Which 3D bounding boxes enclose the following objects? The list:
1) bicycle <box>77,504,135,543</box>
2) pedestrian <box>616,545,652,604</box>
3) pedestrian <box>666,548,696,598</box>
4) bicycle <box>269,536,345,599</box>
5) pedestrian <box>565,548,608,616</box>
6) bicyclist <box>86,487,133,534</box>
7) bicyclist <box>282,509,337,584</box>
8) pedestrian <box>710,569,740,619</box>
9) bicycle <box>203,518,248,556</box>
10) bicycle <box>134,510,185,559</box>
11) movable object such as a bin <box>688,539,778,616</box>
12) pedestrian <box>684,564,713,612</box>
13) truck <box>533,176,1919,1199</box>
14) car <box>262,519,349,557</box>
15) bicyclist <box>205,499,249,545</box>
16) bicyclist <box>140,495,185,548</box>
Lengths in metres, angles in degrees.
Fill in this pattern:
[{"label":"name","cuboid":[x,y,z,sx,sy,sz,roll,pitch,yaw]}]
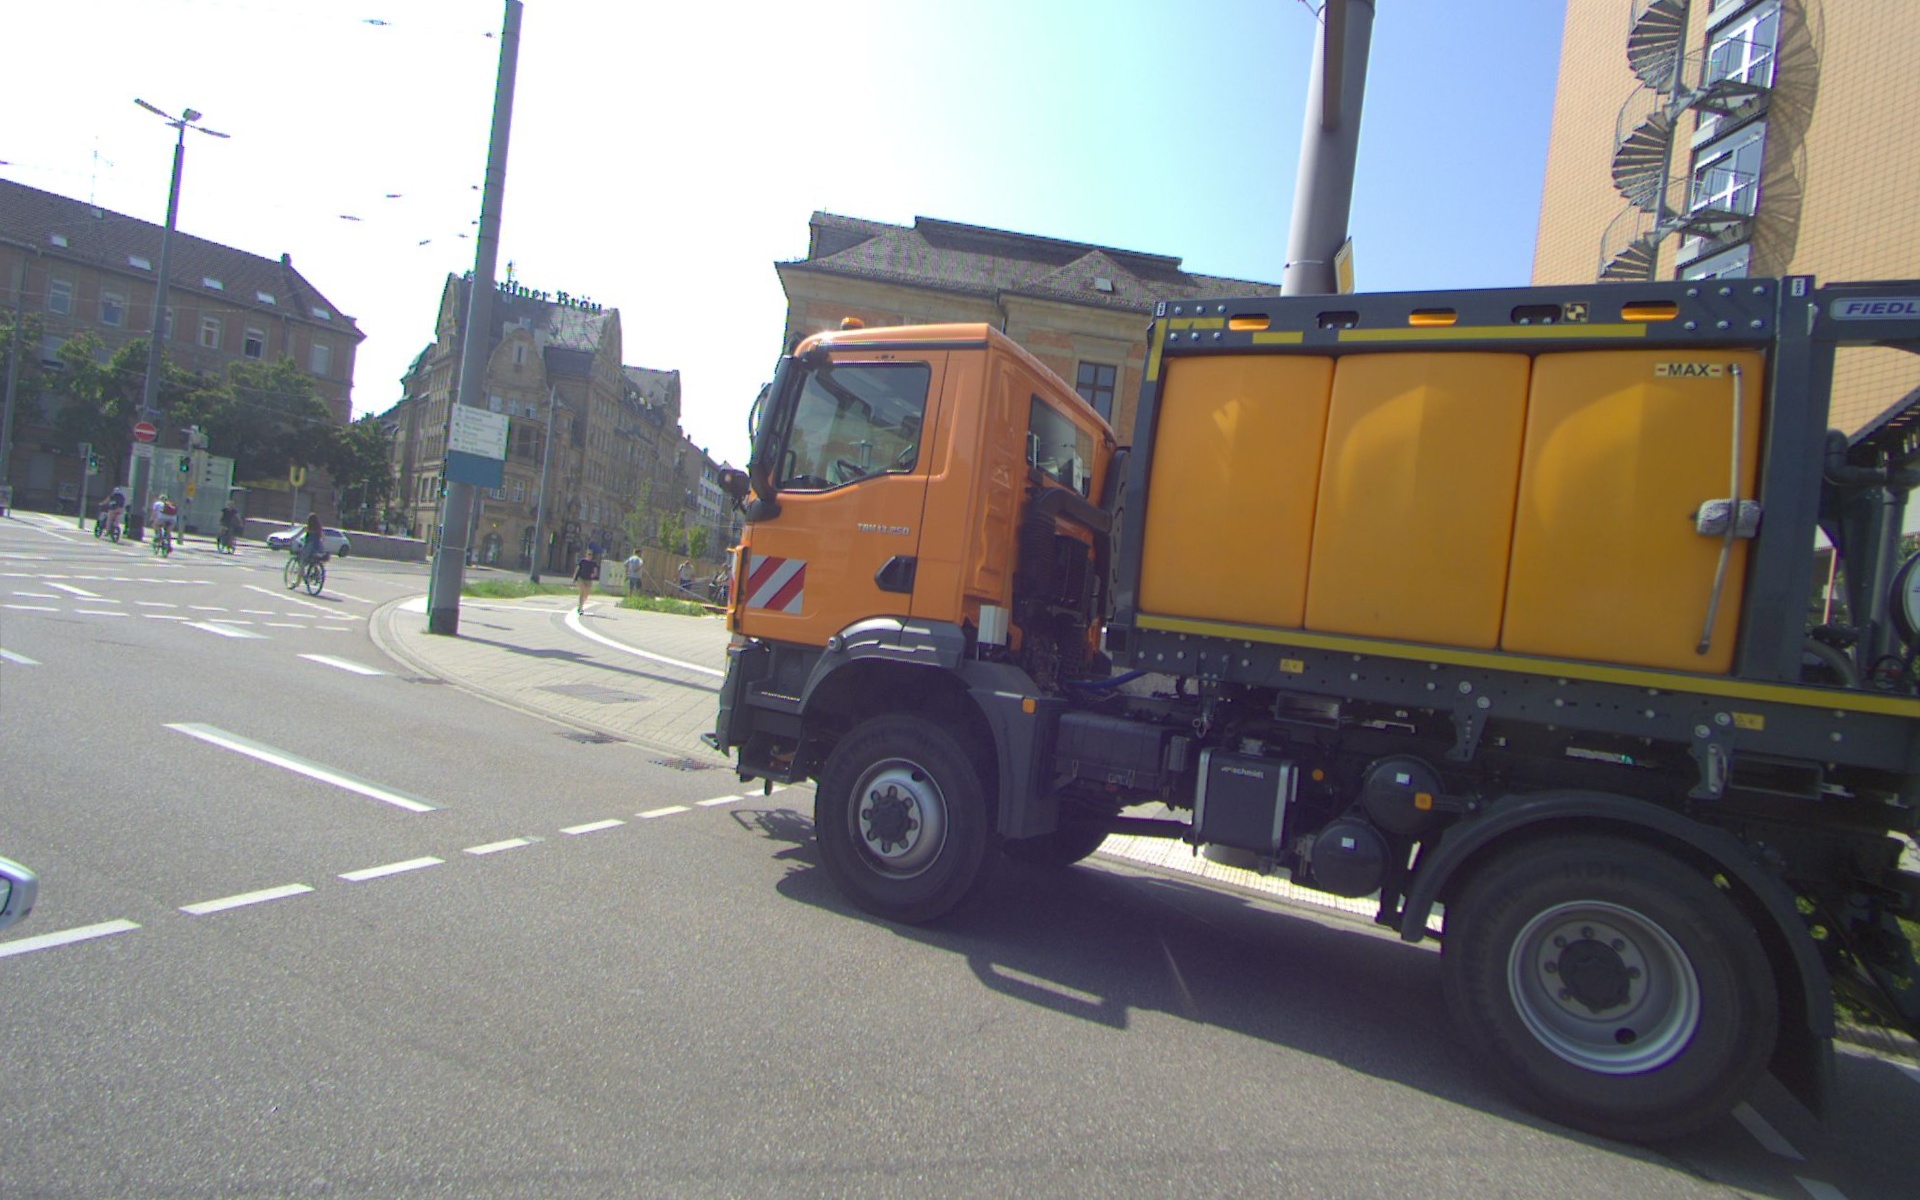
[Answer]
[{"label":"bicycle","cuboid":[-26.884,-2.418,31.672,2.336,1.011,0.645,7,1,32]},{"label":"pedestrian","cuboid":[-10.747,-0.842,33.158,0.678,1.836,1.029,6,1,-34]},{"label":"pedestrian","cuboid":[-10.030,-0.982,36.194,0.678,1.693,0.679,6,1,-35]},{"label":"bicycle","cuboid":[-14.042,-0.705,21.619,2.093,1.125,0.440,7,1,32]},{"label":"pedestrian","cuboid":[-9.454,-0.456,25.458,0.784,1.629,0.943,5,1,-28]},{"label":"bicyclist","cuboid":[-26.724,-2.816,31.616,0.906,1.335,0.748,6,-1,32]},{"label":"bicyclist","cuboid":[-13.970,-1.147,21.617,0.633,1.499,0.657,7,1,31]},{"label":"pedestrian","cuboid":[-8.525,-0.229,36.508,0.678,1.693,0.679,6,1,-35]},{"label":"bicycle","cuboid":[-25.621,-2.213,35.069,1.925,1.139,0.471,6,-1,32]},{"label":"bicycle","cuboid":[-21.209,-1.741,26.646,1.616,1.125,0.440,7,1,32]},{"label":"movable object such as a bin","cuboid":[-9.093,-0.838,40.634,1.783,2.705,4.458,7,0,8]},{"label":"pedestrian","cuboid":[-9.829,-0.442,37.785,0.678,1.693,0.679,6,1,-35]},{"label":"truck","cuboid":[1.406,0.084,5.805,7.065,3.267,3.040,8,-1,28]},{"label":"car","cuboid":[-32.878,-3.083,50.663,1.558,1.303,3.732,7,-2,5]},{"label":"bicyclist","cuboid":[-25.577,-2.722,35.098,0.915,1.439,0.802,6,-2,31]},{"label":"bicyclist","cuboid":[-21.122,-2.070,26.641,0.633,1.269,0.657,7,1,31]}]
